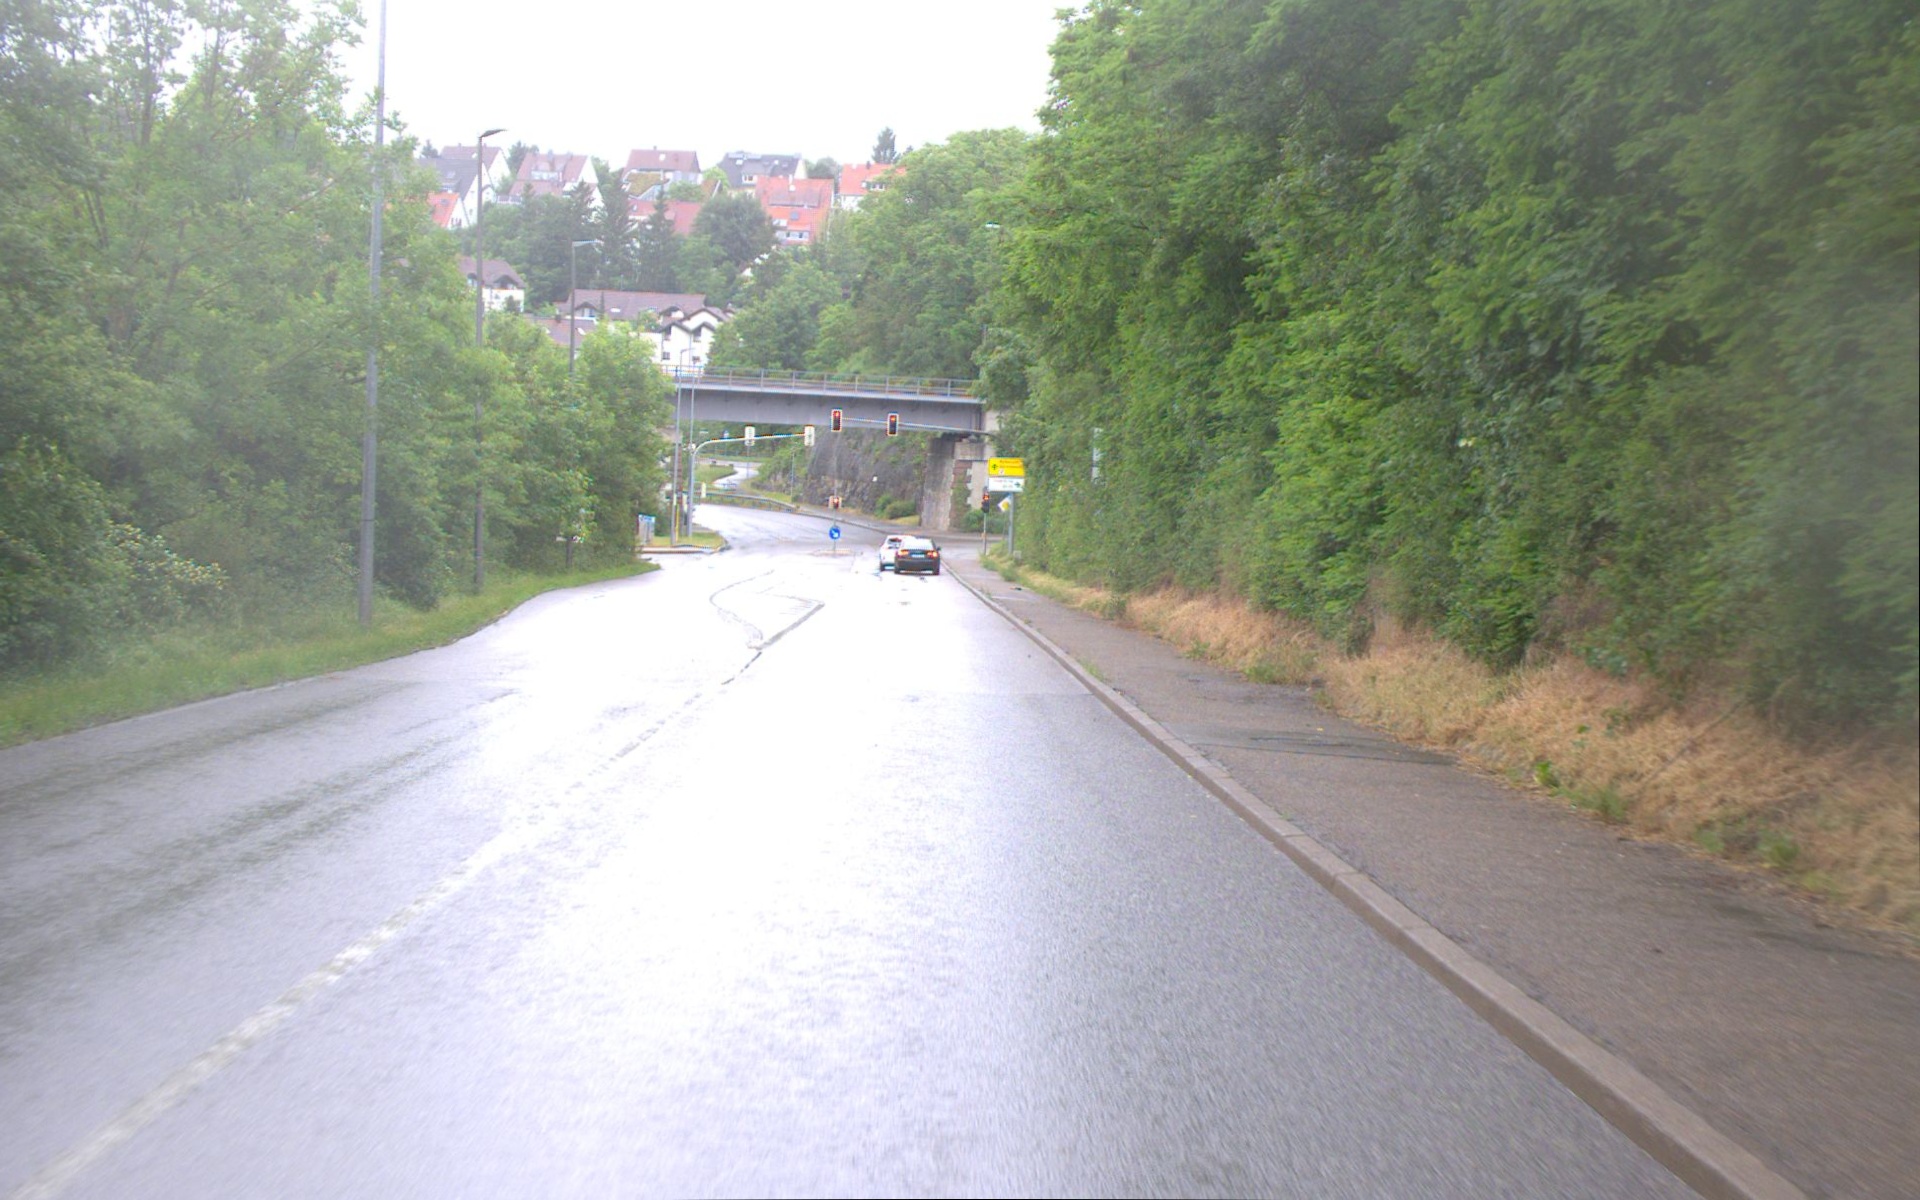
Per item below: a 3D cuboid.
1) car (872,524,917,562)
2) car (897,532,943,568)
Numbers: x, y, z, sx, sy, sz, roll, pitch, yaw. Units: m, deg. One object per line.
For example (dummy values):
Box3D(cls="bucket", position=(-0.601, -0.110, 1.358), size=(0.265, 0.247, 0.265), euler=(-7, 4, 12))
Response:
Box3D(cls="car", position=(-2.695, -2.367, 142.647), size=(1.768, 1.557, 4.000), euler=(1, 1, 0))
Box3D(cls="car", position=(-1.567, -1.979, 135.832), size=(1.768, 1.375, 4.000), euler=(1, 1, 0))
